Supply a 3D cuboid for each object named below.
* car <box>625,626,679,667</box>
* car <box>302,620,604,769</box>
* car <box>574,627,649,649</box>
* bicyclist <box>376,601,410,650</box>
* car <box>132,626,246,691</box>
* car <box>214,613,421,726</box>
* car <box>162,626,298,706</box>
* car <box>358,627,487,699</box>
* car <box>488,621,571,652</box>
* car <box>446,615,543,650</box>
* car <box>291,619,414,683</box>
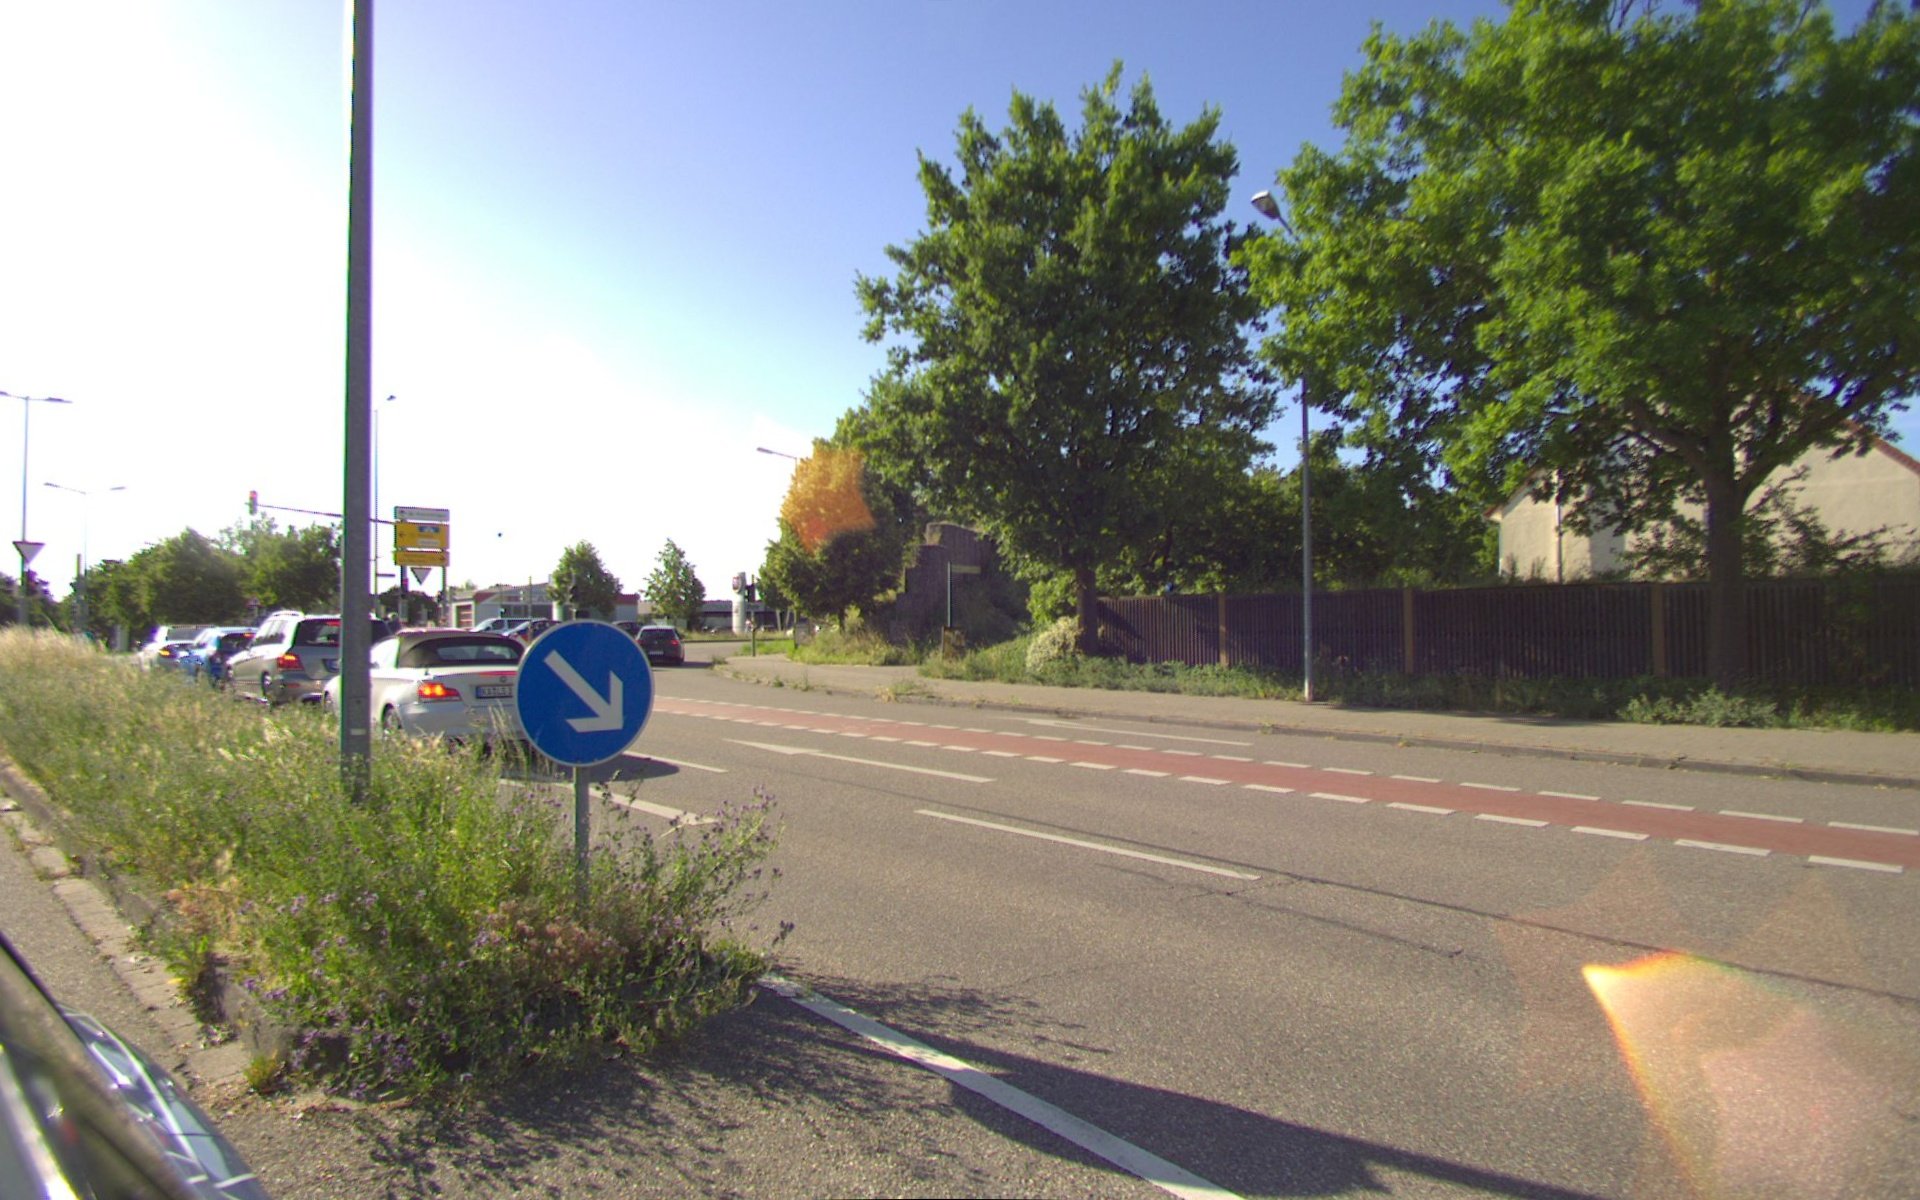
[{"bbox_3d":[-11.543,1.734,37.806,1.685,1.442,4.013,1,-3,-20],"label":"car"},{"bbox_3d":[-6.232,1.001,12.186,1.971,1.461,4.401,1,-3,-45],"label":"car"},{"bbox_3d":[-21.484,2.340,62.499,1.892,1.284,3.984,-5,-4,41],"label":"car"},{"bbox_3d":[-20.306,0.909,36.219,1.242,1.715,0.736,-2,-2,45],"label":"bicyclist"},{"bbox_3d":[-19.733,1.447,25.840,1.772,1.517,4.533,1,-3,-44],"label":"car"},{"bbox_3d":[-10.762,1.074,16.812,1.971,1.628,4.532,1,-3,-45],"label":"car"},{"bbox_3d":[-15.126,1.298,20.906,1.726,1.494,3.890,1,-3,-44],"label":"car"},{"bbox_3d":[-12.332,1.385,23.131,1.626,1.494,3.716,1,-3,-44],"label":"car"},{"bbox_3d":[-24.861,2.091,58.538,1.892,1.657,3.984,-5,-4,41],"label":"car"},{"bbox_3d":[-29.321,2.036,63.907,2.047,2.029,5.203,-5,-4,41],"label":"car"},{"bbox_3d":[-17.036,1.387,28.277,1.970,1.656,4.533,1,-3,-44],"label":"car"}]
